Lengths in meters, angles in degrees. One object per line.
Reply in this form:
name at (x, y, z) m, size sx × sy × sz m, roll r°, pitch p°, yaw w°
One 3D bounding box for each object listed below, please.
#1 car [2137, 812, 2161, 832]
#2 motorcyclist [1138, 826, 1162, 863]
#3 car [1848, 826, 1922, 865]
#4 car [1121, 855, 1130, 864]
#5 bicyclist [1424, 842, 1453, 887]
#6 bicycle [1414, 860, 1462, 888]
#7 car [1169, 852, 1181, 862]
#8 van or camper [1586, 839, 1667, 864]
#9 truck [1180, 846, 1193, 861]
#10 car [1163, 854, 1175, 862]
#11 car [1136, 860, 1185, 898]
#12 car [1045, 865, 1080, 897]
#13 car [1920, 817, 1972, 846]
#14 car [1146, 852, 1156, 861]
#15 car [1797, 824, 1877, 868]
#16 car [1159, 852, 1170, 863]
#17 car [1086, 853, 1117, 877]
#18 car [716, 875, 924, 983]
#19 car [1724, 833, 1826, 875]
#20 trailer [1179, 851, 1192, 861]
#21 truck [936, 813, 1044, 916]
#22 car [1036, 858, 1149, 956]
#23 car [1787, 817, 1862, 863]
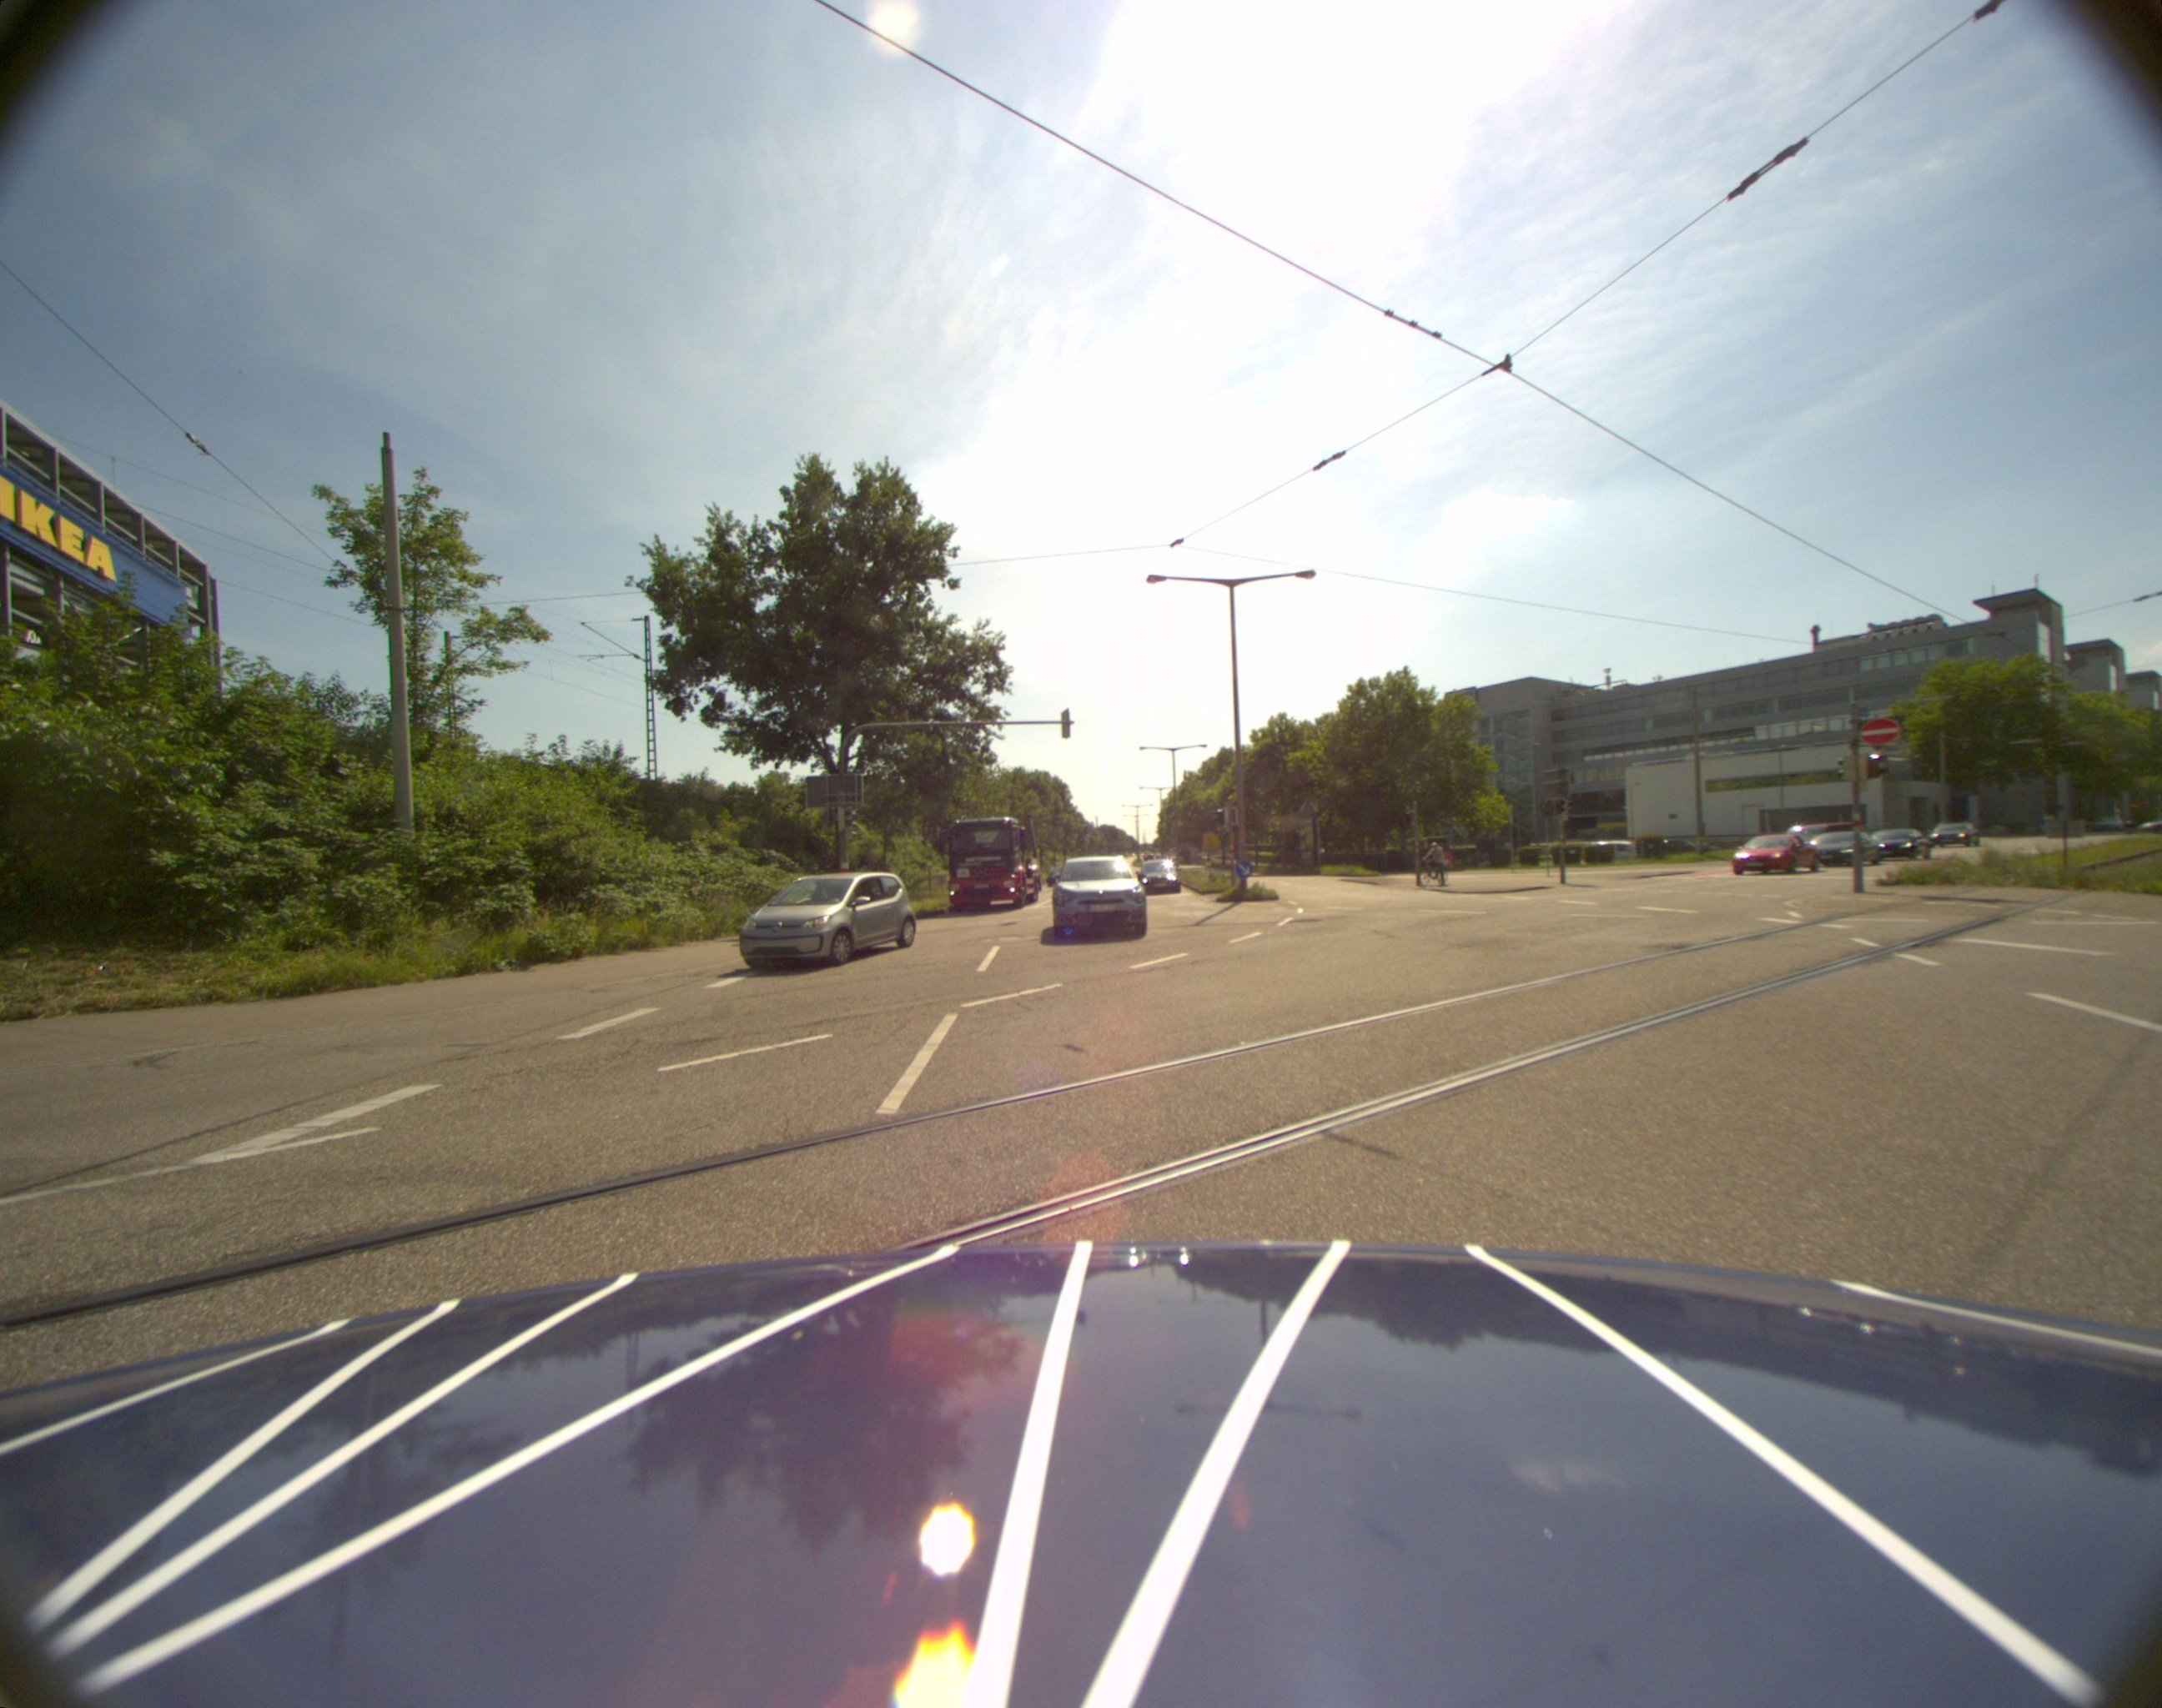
car at (80.910, -2.428, 55.585) m, size 1.792 × 1.435 × 4.212 m, roll -3°, pitch 0°, yaw -34°
motorcyclist at (3.359, -0.458, 36.979) m, size 1.066 × 1.689 × 1.042 m, roll -3°, pitch 0°, yaw 3°
car at (38.054, -0.405, 35.943) m, size 4.007 × 1.689 × 1.995 m, roll -2°, pitch 0°, yaw -38°
car at (11.190, 1.369, 191.469) m, size 1.998 × 2.002 × 4.001 m, roll -2°, pitch 0°, yaw 4°
bicyclist at (14.724, 0.434, 31.320) m, size 0.769 × 1.778 × 0.704 m, roll -3°, pitch 1°, yaw -26°
bicycle at (14.730, 0.808, 31.341) m, size 2.168 × 1.058 × 0.524 m, roll -3°, pitch 0°, yaw -26°
car at (14.912, 0.502, 120.940) m, size 1.653 × 1.505 × 3.737 m, roll -3°, pitch 0°, yaw 3°
van or camper at (40.894, -0.139, 57.086) m, size 2.003 × 1.682 × 4.502 m, roll -3°, pitch 0°, yaw -34°
truck at (19.355, -0.077, 139.917) m, size 2.144 × 2.461 × 7.132 m, roll -2°, pitch 0°, yaw 7°
car at (16.719, 0.831, 144.701) m, size 1.852 × 1.426 × 3.767 m, roll -2°, pitch 0°, yaw 2°
car at (3.326, 1.026, 32.525) m, size 1.730 × 1.354 × 4.068 m, roll -4°, pitch 0°, yaw 2°
car at (-1.267, 1.850, 53.098) m, size 1.998 × 2.002 × 4.001 m, roll -3°, pitch 0°, yaw 3°
car at (56.375, -1.480, 49.499) m, size 4.007 × 1.689 × 1.995 m, roll -2°, pitch 0°, yaw -38°
car at (15.568, 0.591, 168.225) m, size 1.998 × 2.002 × 4.001 m, roll -3°, pitch 0°, yaw 4°
car at (32.275, -0.342, 32.411) m, size 4.007 × 1.689 × 1.995 m, roll -2°, pitch 0°, yaw -39°
car at (17.254, 0.717, 157.639) m, size 1.998 × 2.002 × 4.001 m, roll -3°, pitch 0°, yaw 4°
car at (1.498, 0.715, 52.961) m, size 1.825 × 1.521 × 4.549 m, roll -3°, pitch 0°, yaw 5°
car at (-4.259, 1.175, 13.060) m, size 1.703 × 1.429 × 3.681 m, roll -2°, pitch 0°, yaw 11°
car at (26.465, -0.008, 28.945) m, size 4.006 × 1.441 × 1.843 m, roll -2°, pitch 0°, yaw -32°
trailer at (18.483, 0.331, 134.395) m, size 2.066 × 1.705 × 3.993 m, roll -3°, pitch 0°, yaw 7°
truck at (-3.170, 0.345, 28.717) m, size 2.775 × 3.248 × 7.483 m, roll -2°, pitch 0°, yaw 2°
car at (0.382, 0.908, 15.119) m, size 1.825 × 1.521 × 4.753 m, roll -3°, pitch 0°, yaw 5°
car at (39.592, -0.758, 40.443) m, size 5.050 × 2.265 × 2.147 m, roll -2°, pitch 0°, yaw -38°
